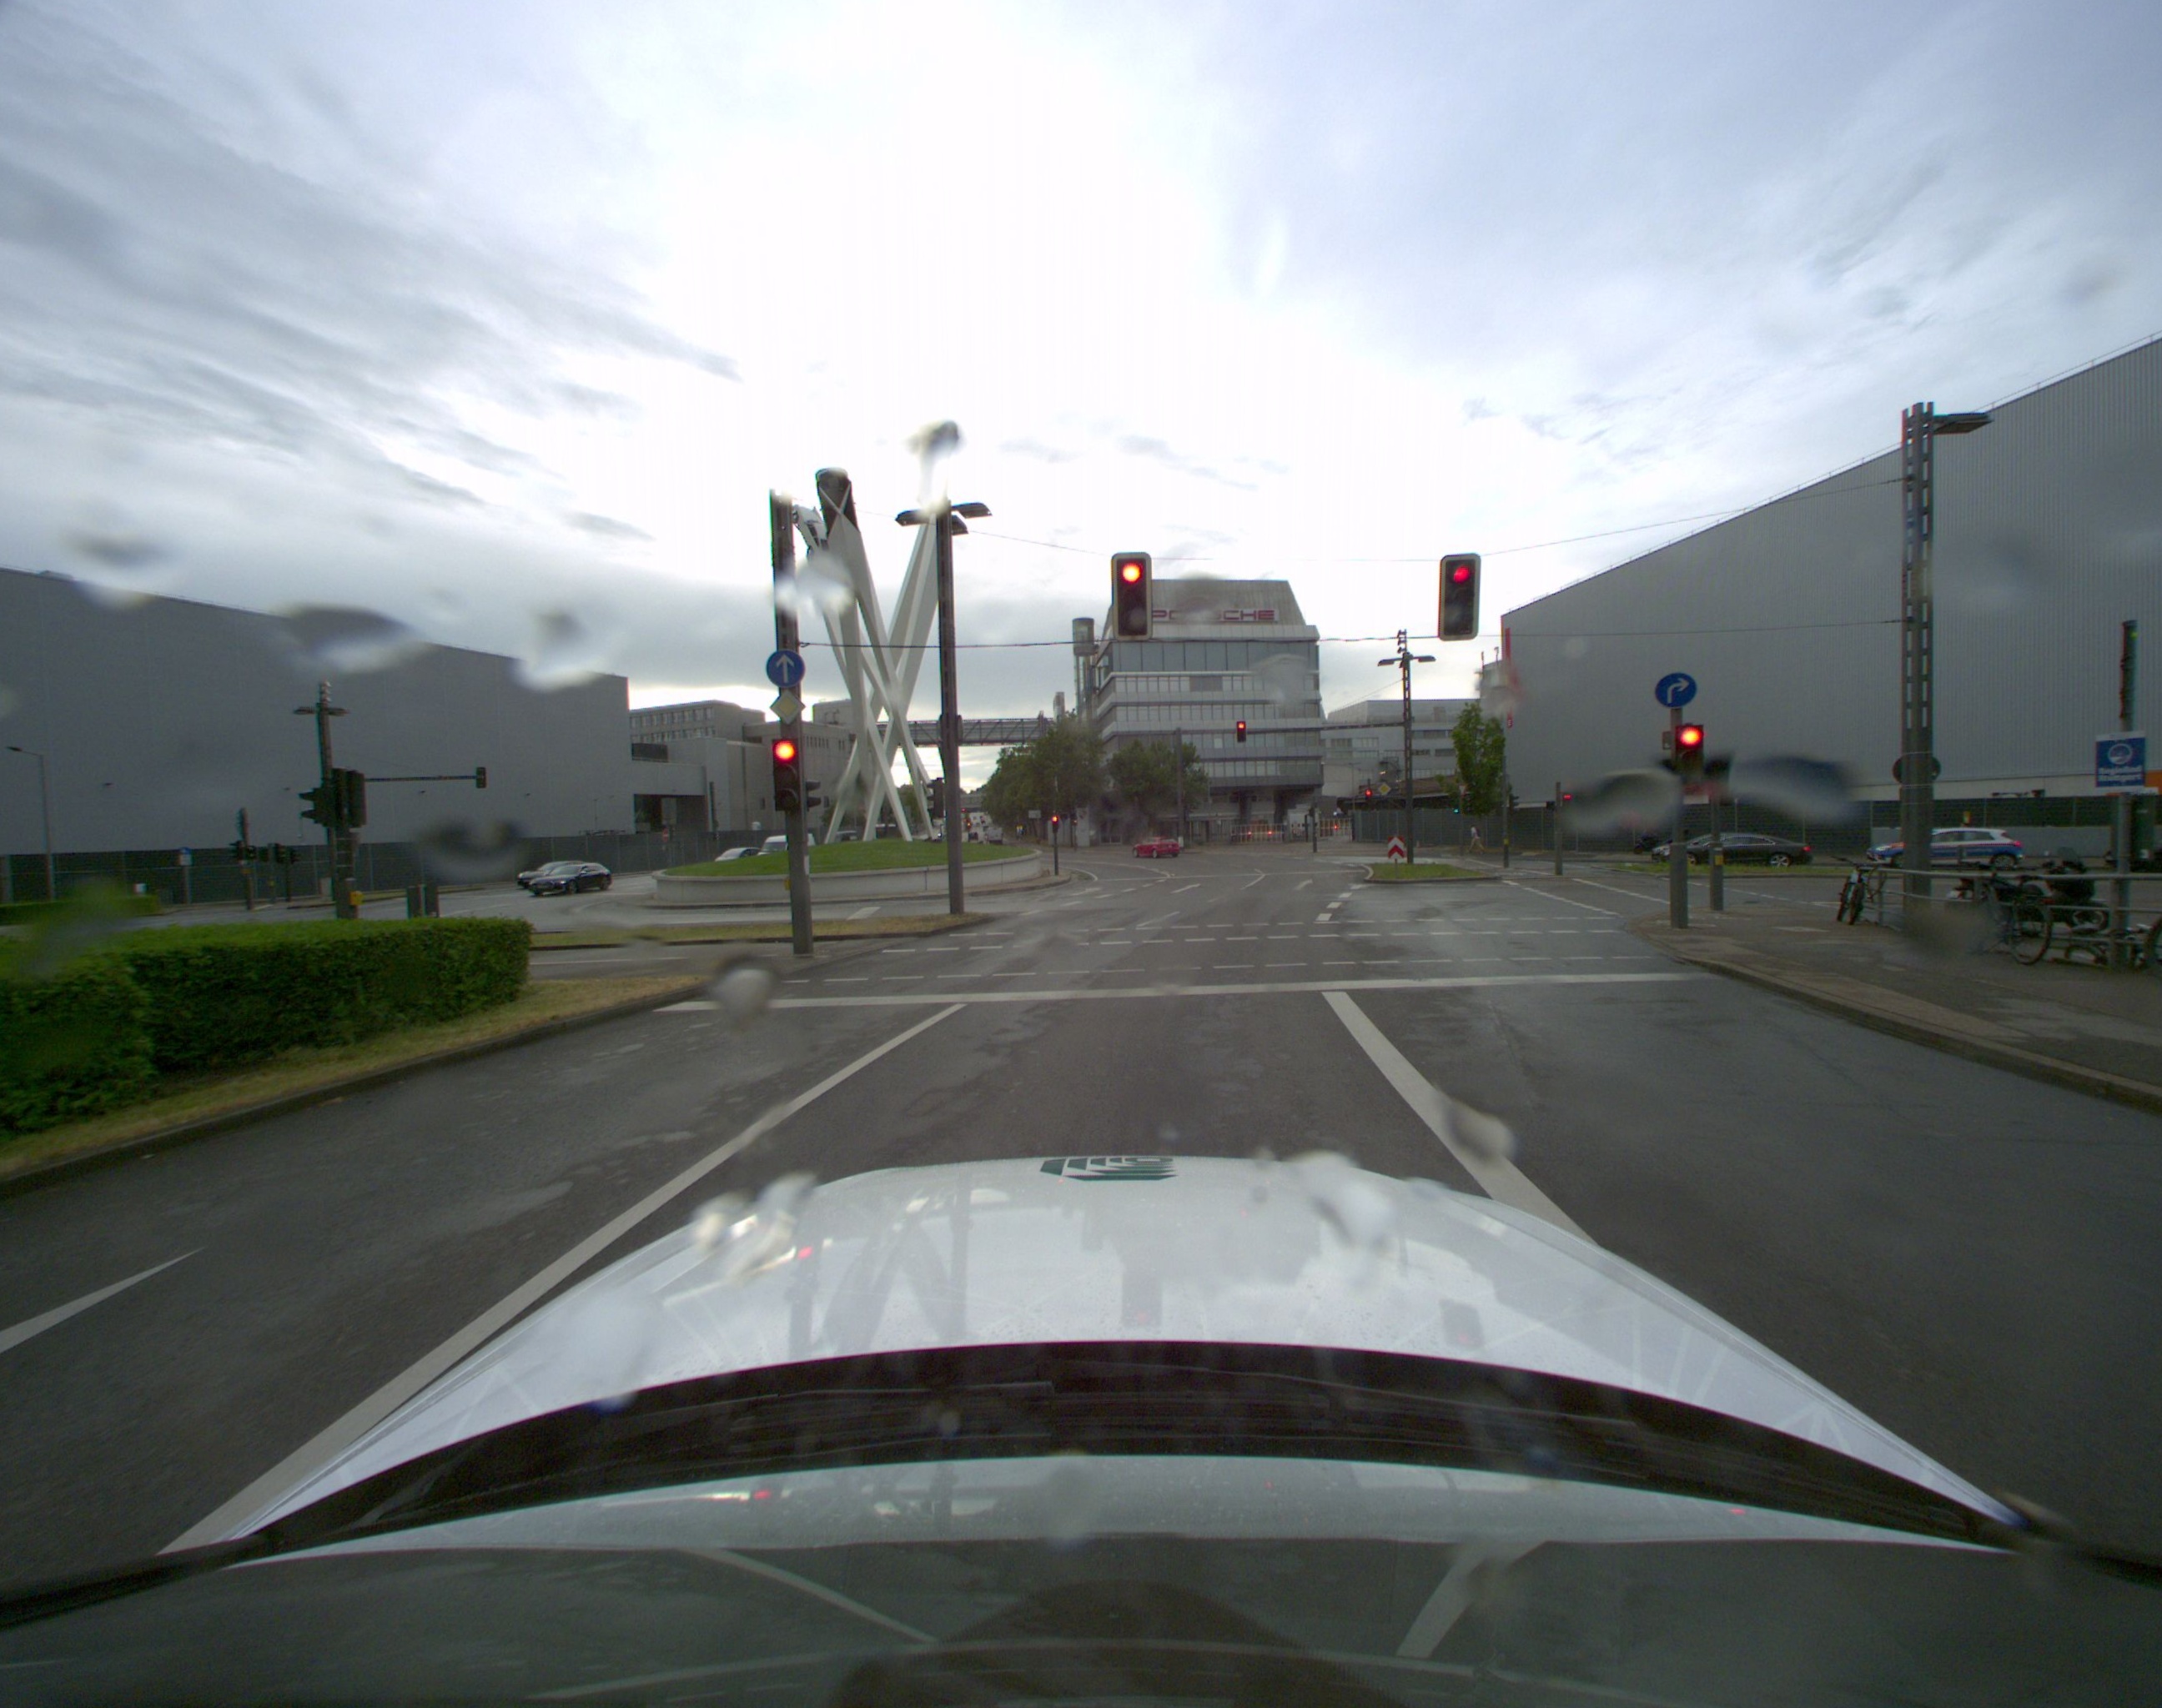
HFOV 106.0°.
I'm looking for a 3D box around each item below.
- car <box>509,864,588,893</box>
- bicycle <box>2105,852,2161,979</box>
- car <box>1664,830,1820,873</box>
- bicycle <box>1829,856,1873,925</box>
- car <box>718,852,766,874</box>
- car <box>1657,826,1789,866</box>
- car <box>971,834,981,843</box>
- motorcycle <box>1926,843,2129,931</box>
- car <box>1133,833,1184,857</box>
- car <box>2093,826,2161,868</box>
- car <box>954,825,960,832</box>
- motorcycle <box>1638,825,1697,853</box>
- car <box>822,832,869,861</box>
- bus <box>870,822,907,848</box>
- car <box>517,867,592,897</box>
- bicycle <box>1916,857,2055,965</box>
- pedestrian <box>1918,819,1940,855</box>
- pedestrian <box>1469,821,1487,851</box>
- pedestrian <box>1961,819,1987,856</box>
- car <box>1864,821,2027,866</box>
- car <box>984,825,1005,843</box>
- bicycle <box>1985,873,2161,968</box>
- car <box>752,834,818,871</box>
[{"bbox_3d":[-31.076,1.391,47.697,1.830,1.472,4.507,-2,0,-4],"label":"car"},{"bbox_3d":[10.002,0.560,6.881,0.383,1.162,2.006,-2,-1,9],"label":"bicycle"},{"bbox_3d":[25.048,-0.122,31.102,4.525,1.539,1.769,0,2,36],"label":"car"},{"bbox_3d":[13.539,0.612,14.339,0.381,1.097,1.762,-2,0,39],"label":"bicycle"},{"bbox_3d":[-24.843,0.608,59.818,1.828,1.494,3.998,-2,0,-2],"label":"car"},{"bbox_3d":[26.650,-0.345,33.999,4.243,1.539,1.769,0,2,36],"label":"car"},{"bbox_3d":[-18.104,-2.670,140.134,1.556,1.288,3.404,-2,0,-8],"label":"car"},{"bbox_3d":[16.279,0.558,14.078,2.211,1.452,0.760,-1,0,17],"label":"motorcycle"},{"bbox_3d":[5.323,-0.609,56.128,1.782,1.464,3.700,-1,-1,-27],"label":"car"},{"bbox_3d":[37.386,-0.244,27.335,3.948,1.392,1.769,0,2,36],"label":"car"},{"bbox_3d":[-37.079,-7.640,244.130,1.627,1.816,3.722,-1,1,-9],"label":"car"},{"bbox_3d":[28.662,-0.725,39.858,2.329,1.344,0.657,-1,1,34],"label":"motorcycle"},{"bbox_3d":[-24.531,-0.767,85.160,1.956,2.820,7.141,-2,0,6],"label":"car"},{"bbox_3d":[-25.537,-2.482,108.473,2.663,3.200,12.652,-1,1,-4],"label":"bus"},{"bbox_3d":[-26.755,1.390,41.560,1.846,1.338,3.984,-2,0,-12],"label":"car"},{"bbox_3d":[10.522,0.614,9.540,0.381,1.119,1.760,-2,0,24],"label":"bicycle"},{"bbox_3d":[36.125,-0.726,34.707,0.606,1.481,0.426,-1,0,41],"label":"pedestrian"},{"bbox_3d":[22.219,-1.002,45.631,0.801,1.610,0.773,-2,-1,23],"label":"pedestrian"},{"bbox_3d":[36.890,-0.679,33.651,0.642,1.481,0.442,-1,0,39],"label":"pedestrian"},{"bbox_3d":[32.448,-0.400,30.747,3.930,1.601,1.924,0,1,36],"label":"car"},{"bbox_3d":[-11.534,-2.654,108.173,2.234,2.108,4.934,-2,-1,-12],"label":"car"},{"bbox_3d":[11.057,0.689,9.032,0.527,0.905,1.821,-1,0,18],"label":"bicycle"},{"bbox_3d":[-21.016,-0.138,58.160,1.982,2.447,5.440,-2,1,9],"label":"car"}]
